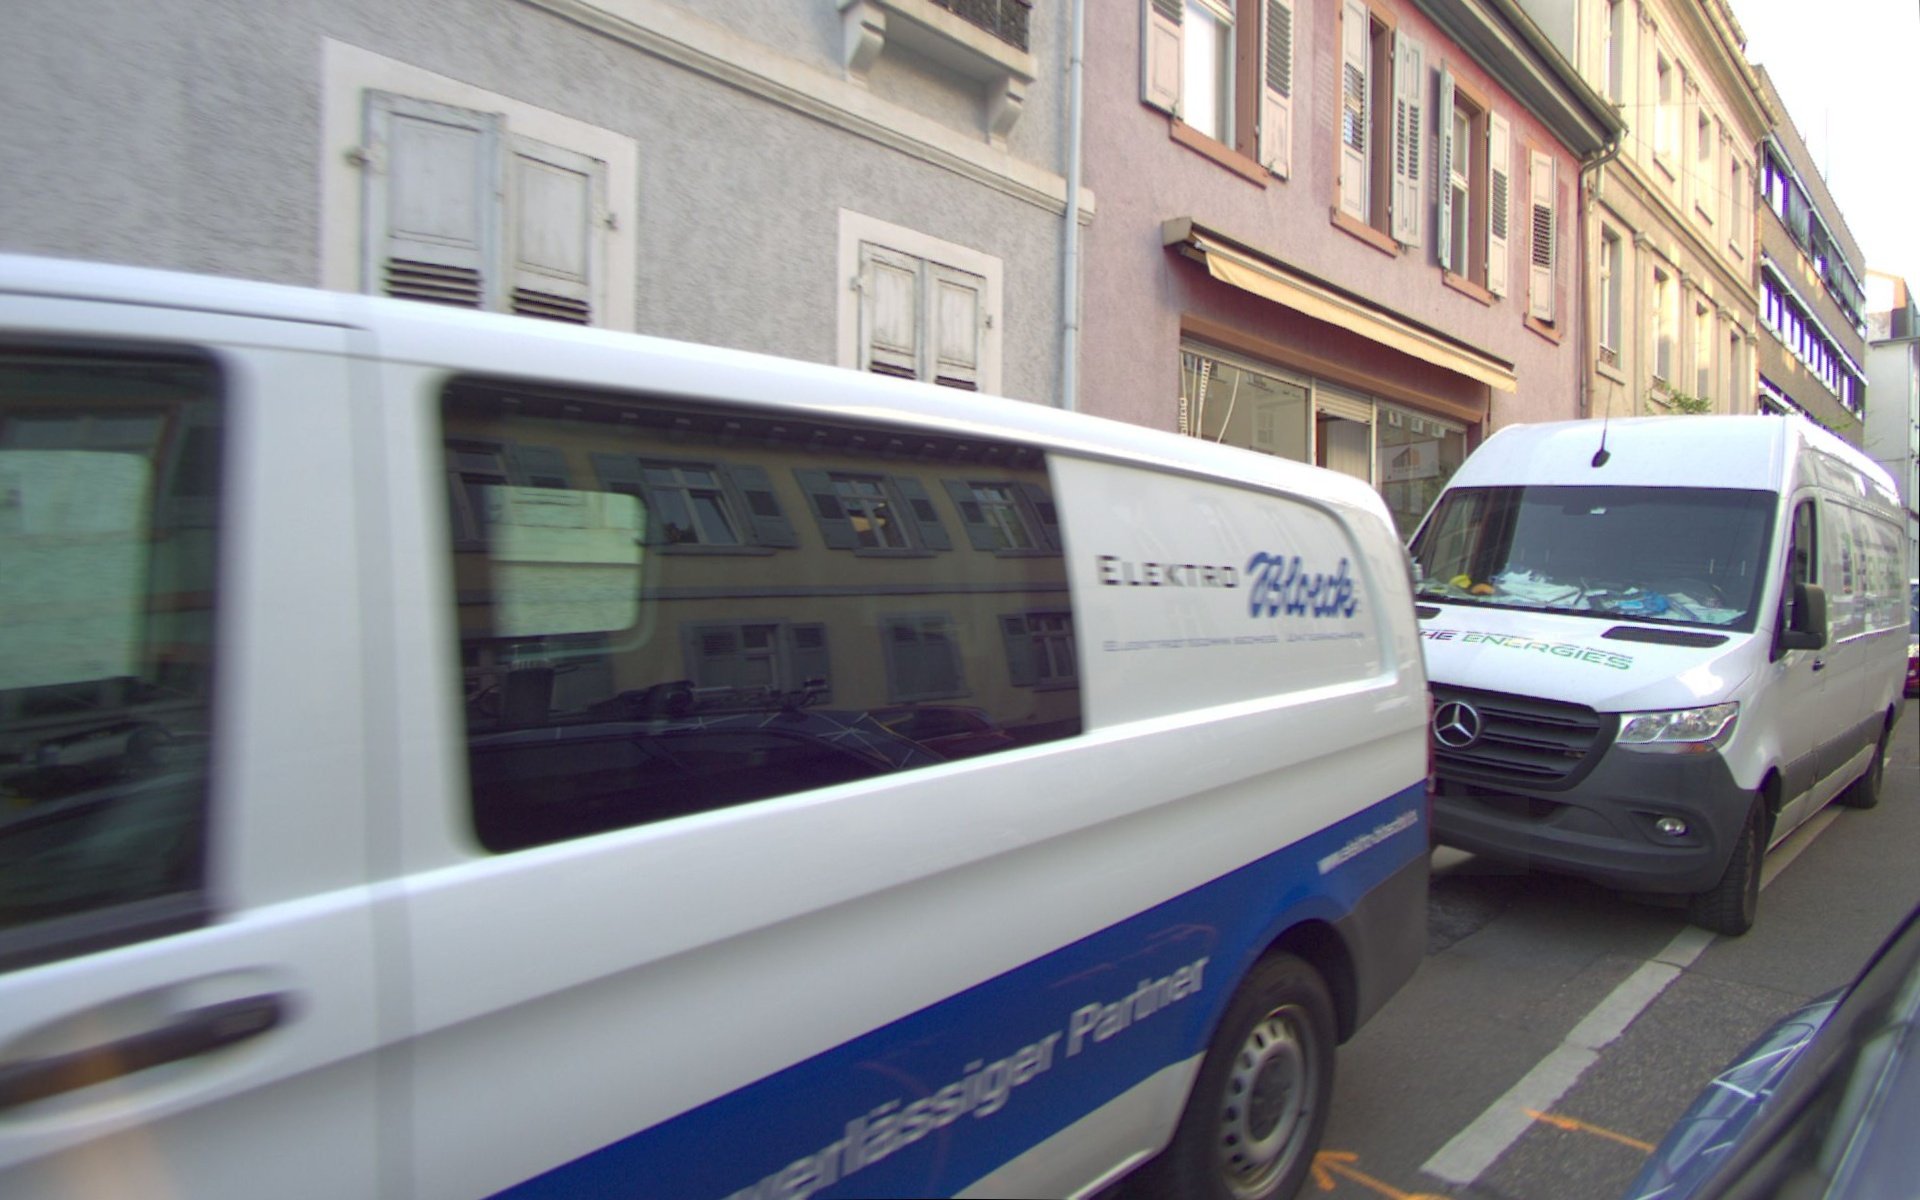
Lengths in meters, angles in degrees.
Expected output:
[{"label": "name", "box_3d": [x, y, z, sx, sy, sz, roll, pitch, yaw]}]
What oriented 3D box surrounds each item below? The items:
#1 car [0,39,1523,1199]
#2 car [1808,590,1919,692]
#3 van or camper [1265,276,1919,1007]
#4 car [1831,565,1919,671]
[{"label": "car", "box_3d": [-0.980, 0.454, 1.924, 5.227, 1.917, 1.945, -1, 5, -43]}, {"label": "car", "box_3d": [15.424, 0.599, 16.846, 3.692, 1.524, 1.656, 0, 1, -45]}, {"label": "van or camper", "box_3d": [4.867, 0.117, 6.776, 6.940, 2.670, 2.054, 0, 1, -41]}, {"label": "car", "box_3d": [19.310, 0.306, 20.136, 5.178, 1.921, 1.942, 0, 1, -37]}]
